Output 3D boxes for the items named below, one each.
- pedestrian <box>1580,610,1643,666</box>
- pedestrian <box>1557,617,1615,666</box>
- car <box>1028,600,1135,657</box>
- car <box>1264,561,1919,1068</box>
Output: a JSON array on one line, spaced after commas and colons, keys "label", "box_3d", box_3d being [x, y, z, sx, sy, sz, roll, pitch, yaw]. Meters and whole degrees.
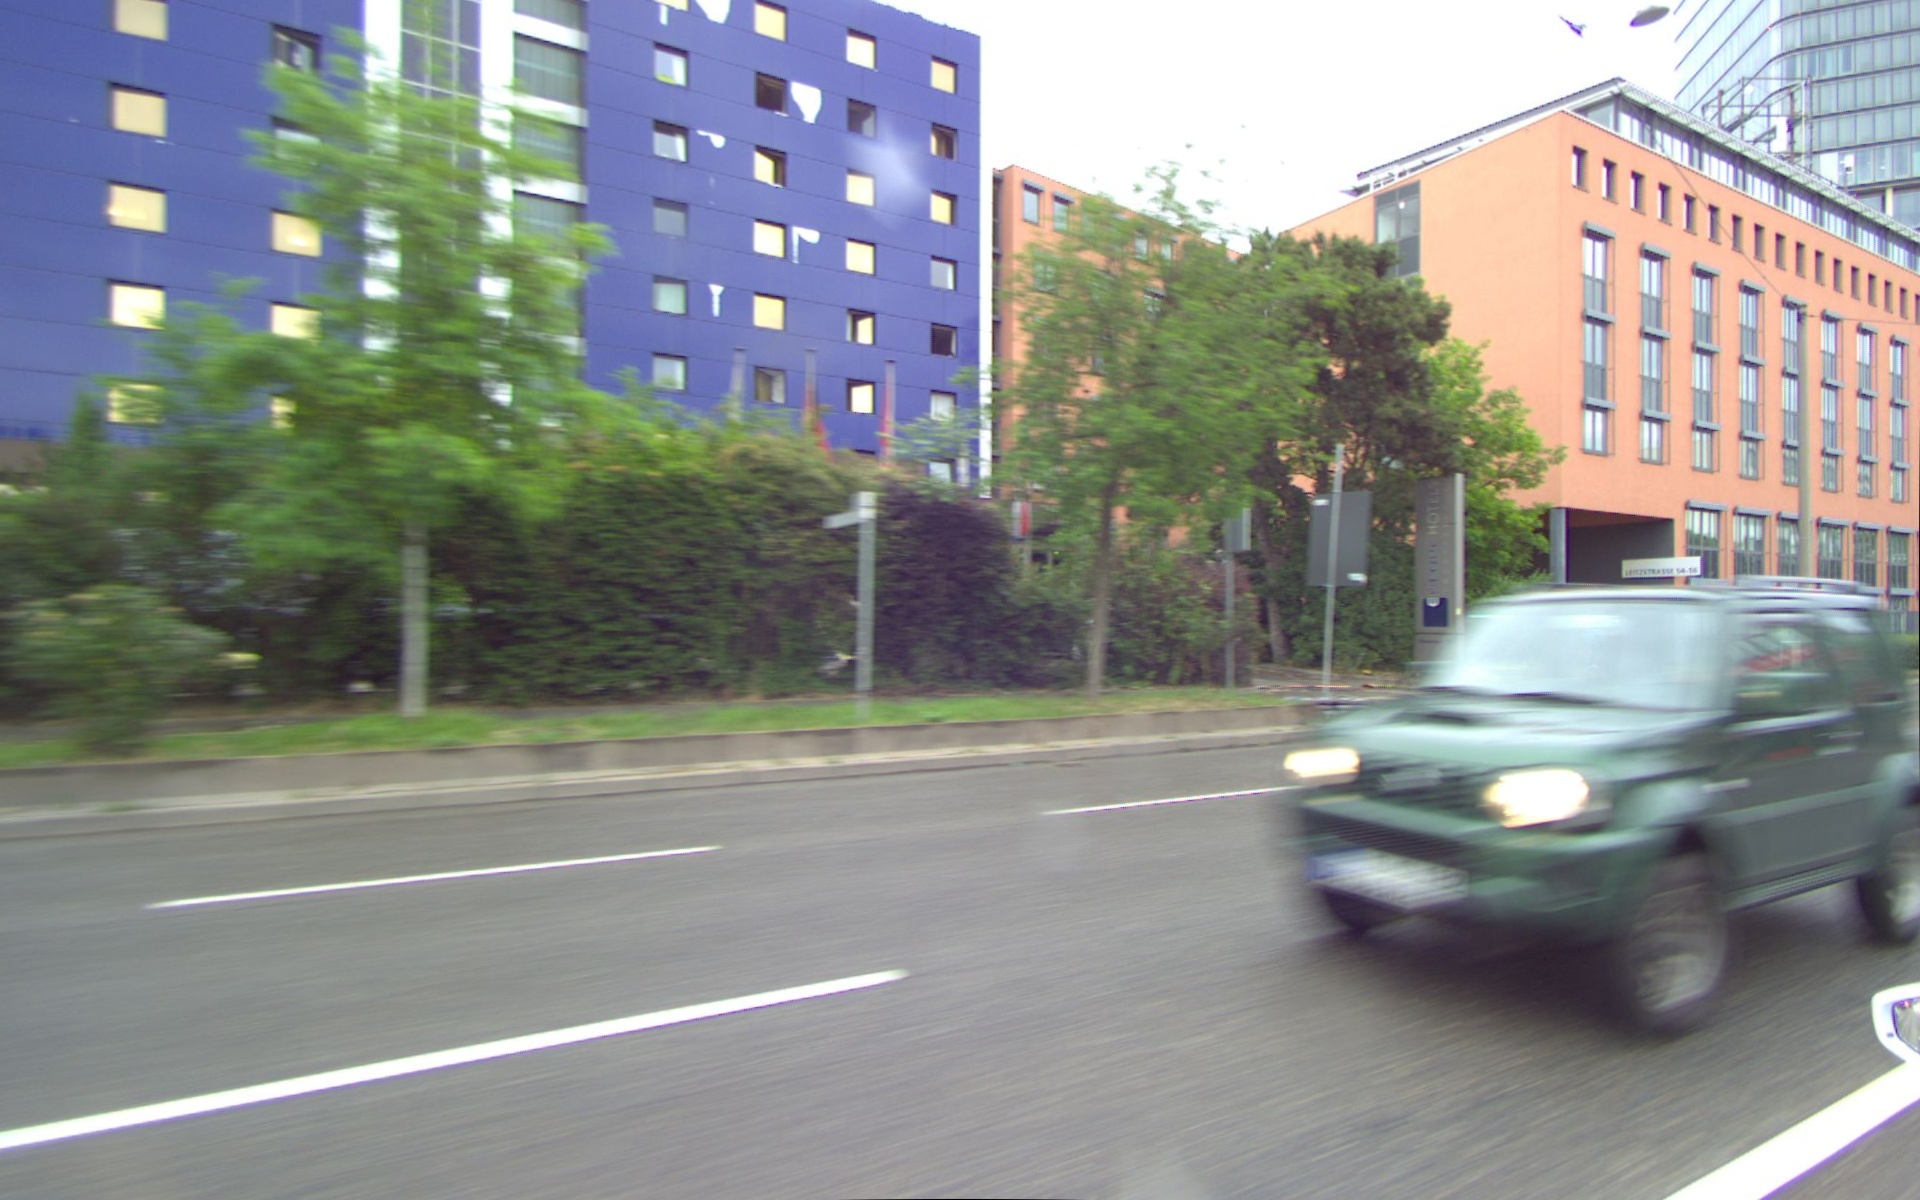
[{"label": "pedestrian", "box_3d": [22.684, 1.345, 34.965, 1.422, 1.847, 1.310, 3, -5, -30]}, {"label": "pedestrian", "box_3d": [22.211, 1.493, 35.637, 1.403, 1.700, 1.201, 3, -5, -30]}, {"label": "car", "box_3d": [3.836, 0.898, 32.133, 1.795, 1.689, 3.395, 0, -1, -28]}, {"label": "car", "box_3d": [3.243, 0.724, 4.857, 3.379, 1.689, 1.496, 0, -1, -30]}]
